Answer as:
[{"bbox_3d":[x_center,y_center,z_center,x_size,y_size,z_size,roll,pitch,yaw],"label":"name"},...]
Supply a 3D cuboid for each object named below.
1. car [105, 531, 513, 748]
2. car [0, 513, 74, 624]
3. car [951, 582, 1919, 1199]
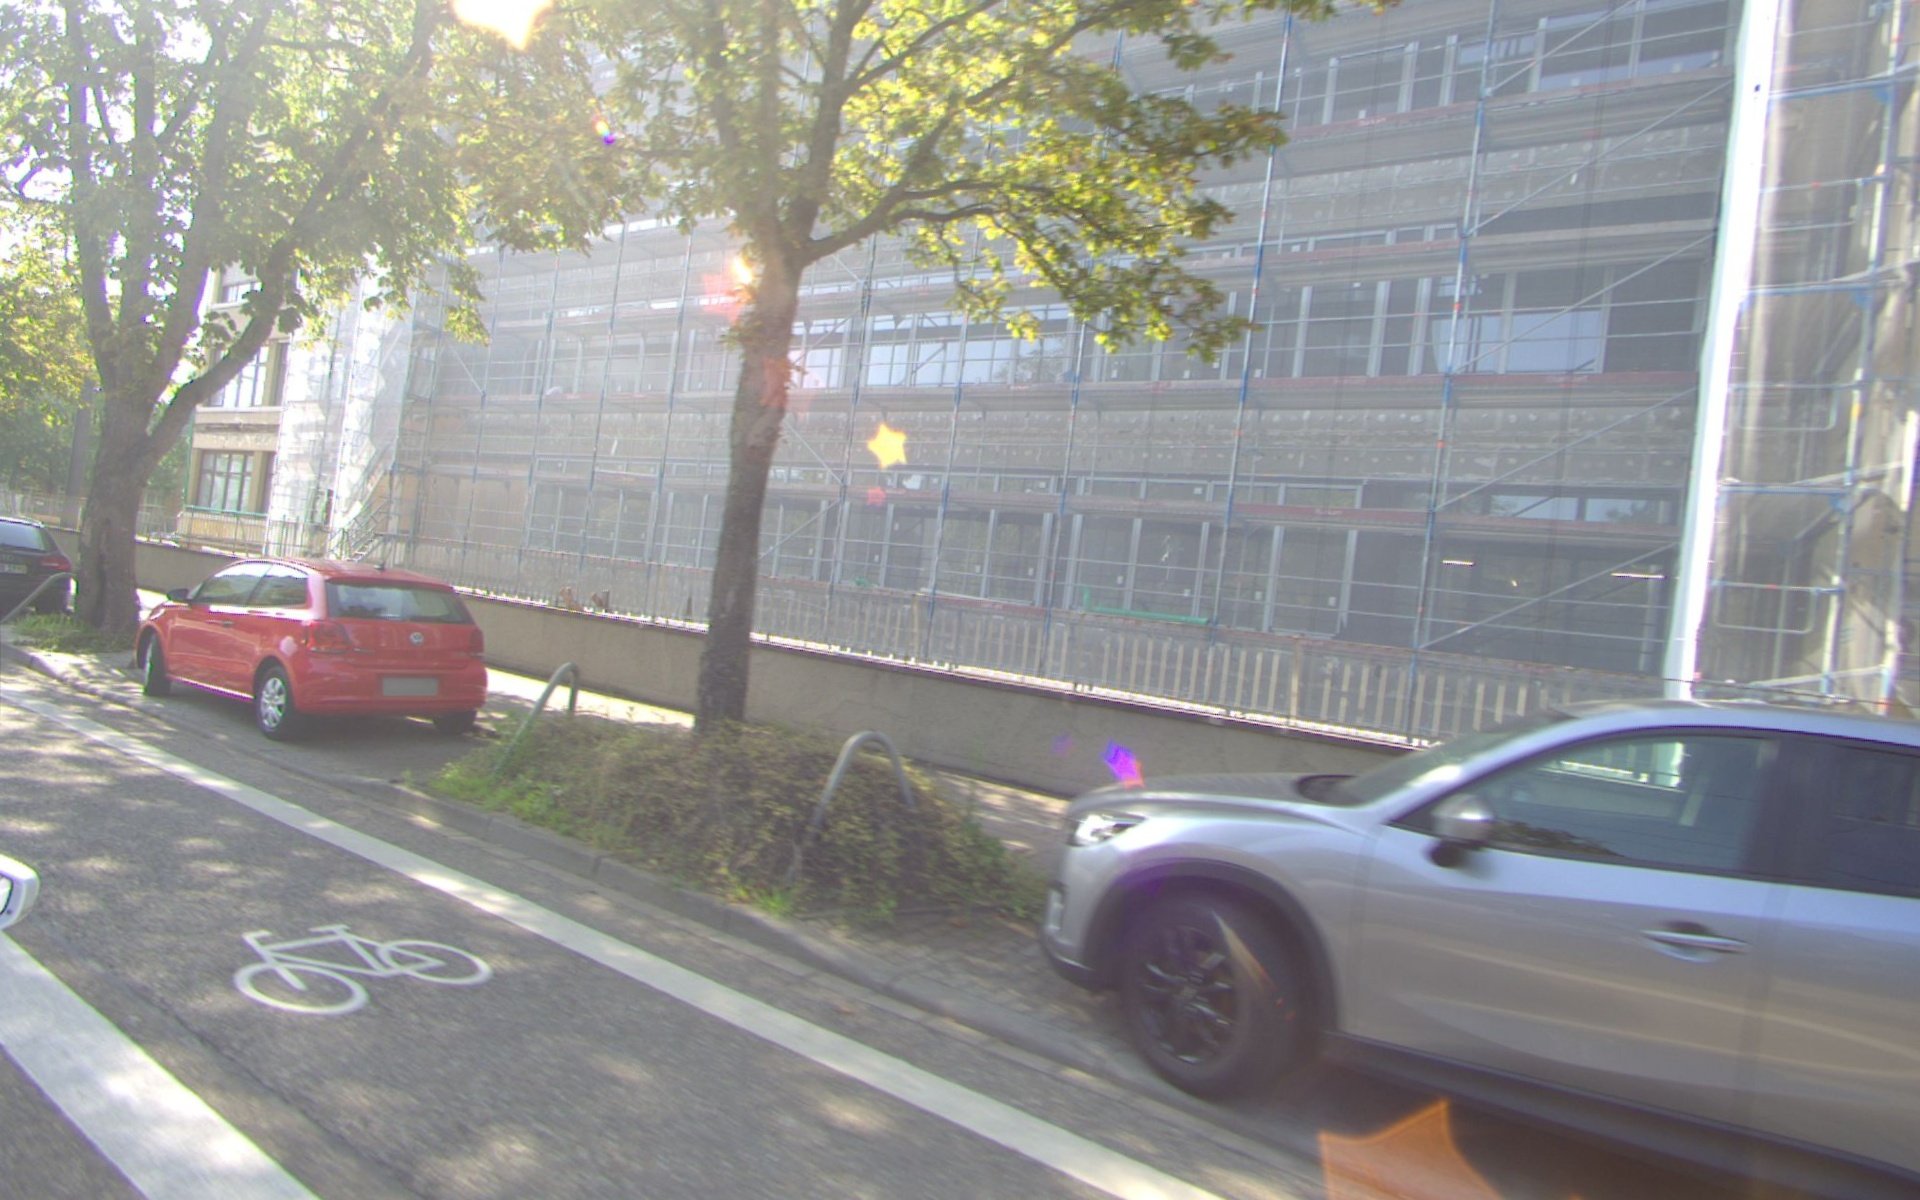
[{"bbox_3d":[-6.128,0.291,9.350,3.935,1.430,1.618,6,-1,33],"label":"car"},{"bbox_3d":[-14.769,-0.651,14.569,4.749,1.391,1.618,6,-1,33],"label":"car"},{"bbox_3d":[2.352,1.096,3.762,4.322,1.711,1.757,7,-2,31],"label":"car"}]
